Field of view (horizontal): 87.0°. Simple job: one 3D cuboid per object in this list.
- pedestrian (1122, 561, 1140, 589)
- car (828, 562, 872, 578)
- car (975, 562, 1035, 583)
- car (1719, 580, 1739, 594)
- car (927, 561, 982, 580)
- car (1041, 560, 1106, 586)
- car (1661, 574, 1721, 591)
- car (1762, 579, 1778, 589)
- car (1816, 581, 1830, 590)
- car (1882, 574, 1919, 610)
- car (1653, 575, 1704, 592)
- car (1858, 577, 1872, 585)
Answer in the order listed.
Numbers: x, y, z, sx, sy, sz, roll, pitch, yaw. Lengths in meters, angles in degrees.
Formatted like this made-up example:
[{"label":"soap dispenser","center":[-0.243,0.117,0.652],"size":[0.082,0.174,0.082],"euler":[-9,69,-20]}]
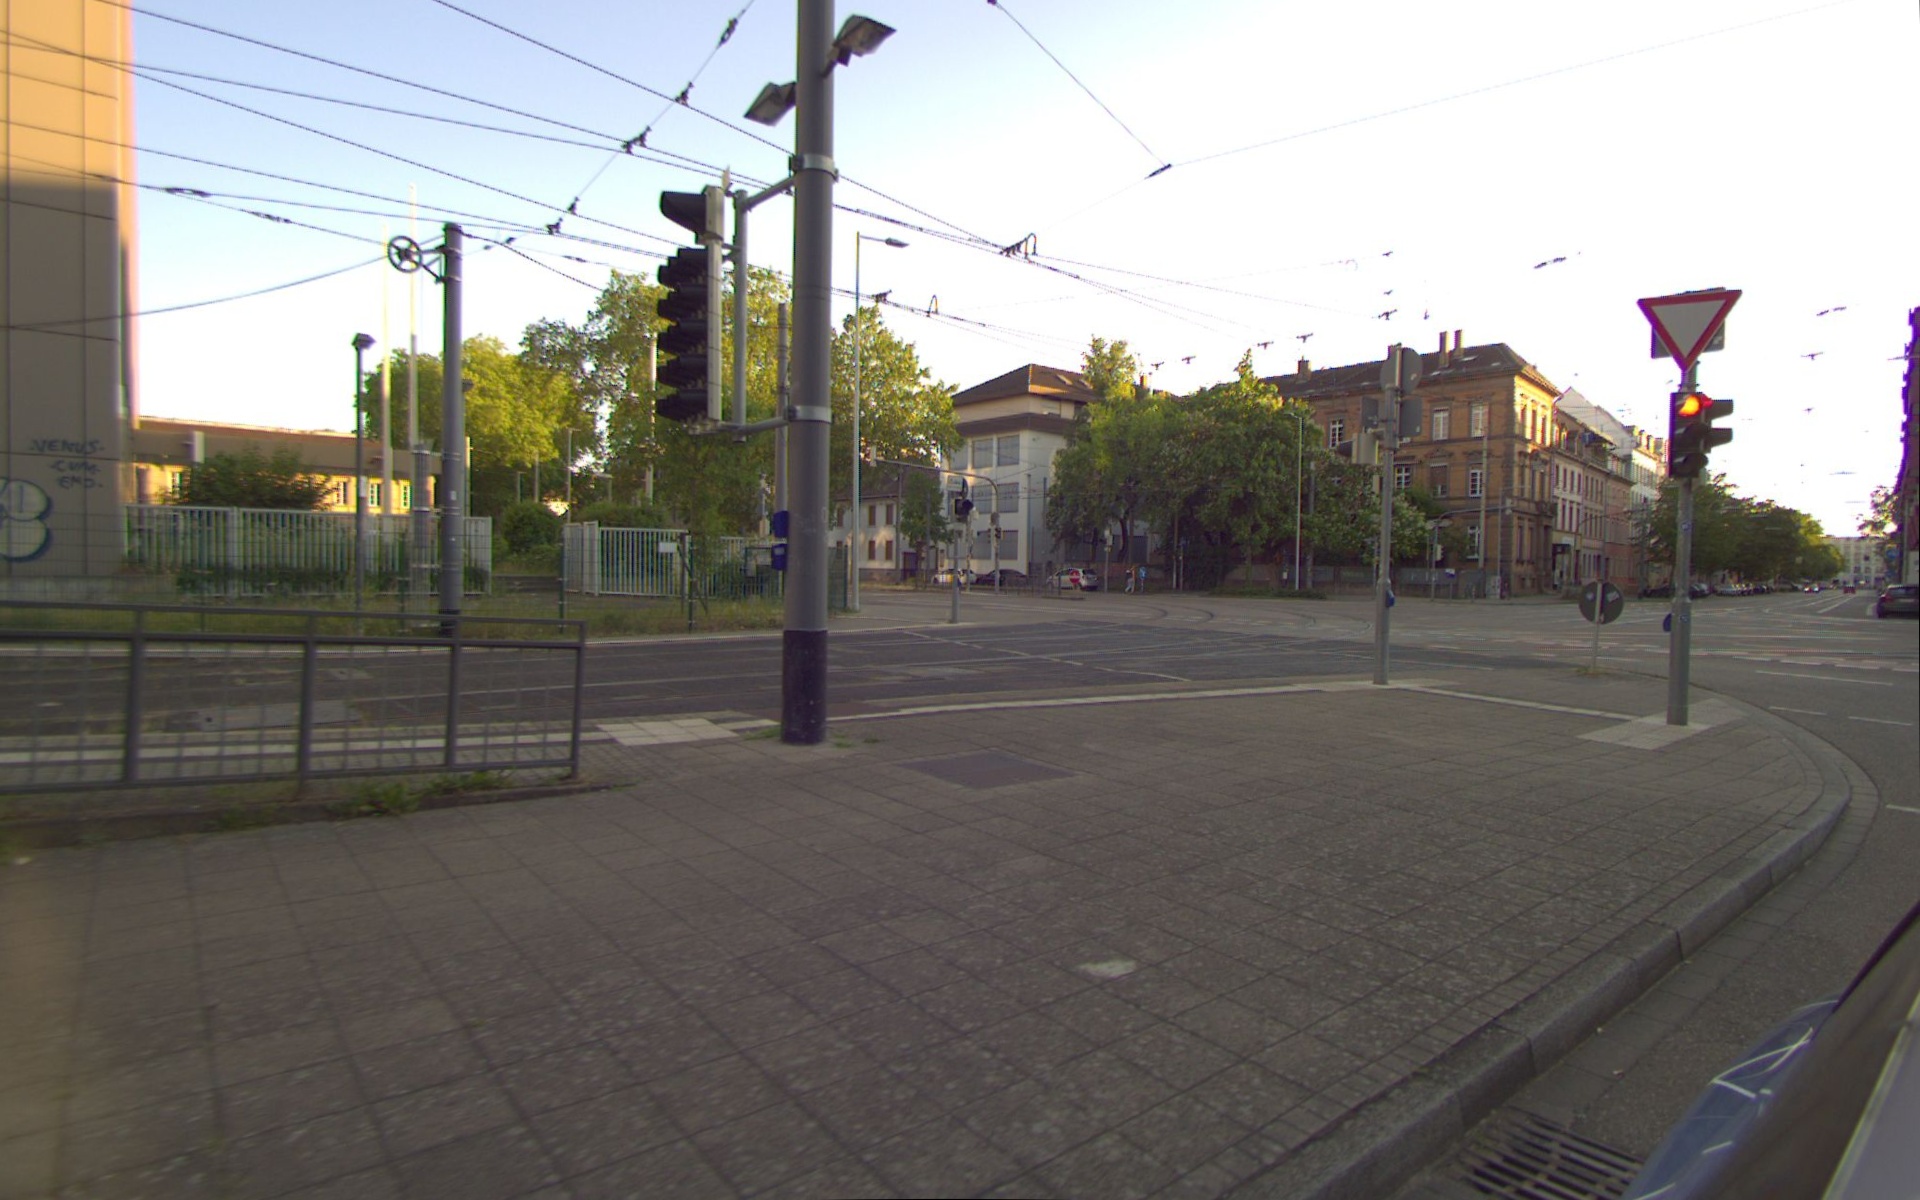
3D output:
[{"label":"pedestrian","center":[9.663,-1.402,57.086],"size":[0.802,1.545,0.580],"euler":[0,2,-36]},{"label":"car","center":[-10.050,-2.758,92.443],"size":[1.966,1.441,4.225],"euler":[-1,2,-41]},{"label":"car","center":[3.256,-2.028,74.305],"size":[1.966,1.441,4.353],"euler":[-1,2,-41]},{"label":"car","center":[88.686,-1.499,116.681],"size":[1.778,1.475,4.237],"euler":[2,2,39]},{"label":"car","center":[-0.443,-2.318,78.687],"size":[1.966,1.441,4.225],"euler":[-1,2,-41]},{"label":"car","center":[7.709,-1.858,69.150],"size":[1.966,1.652,4.225],"euler":[-1,2,-41]},{"label":"car","center":[72.052,-1.732,99.788],"size":[4.683,1.504,1.880],"euler":[2,2,39]},{"label":"car","center":[119.846,-2.367,149.735],"size":[1.778,1.453,4.237],"euler":[2,2,39]},{"label":"car","center":[153.487,-2.555,179.914],"size":[1.780,1.475,4.232],"euler":[2,2,42]},{"label":"car","center":[41.723,-0.358,44.104],"size":[4.227,1.475,2.003],"euler":[-1,3,-44]},{"label":"car","center":[66.566,-1.514,93.739],"size":[3.756,1.504,1.880],"euler":[2,2,39]},{"label":"car","center":[164.548,-3.453,184.095],"size":[1.779,1.475,4.234],"euler":[2,2,40]}]
